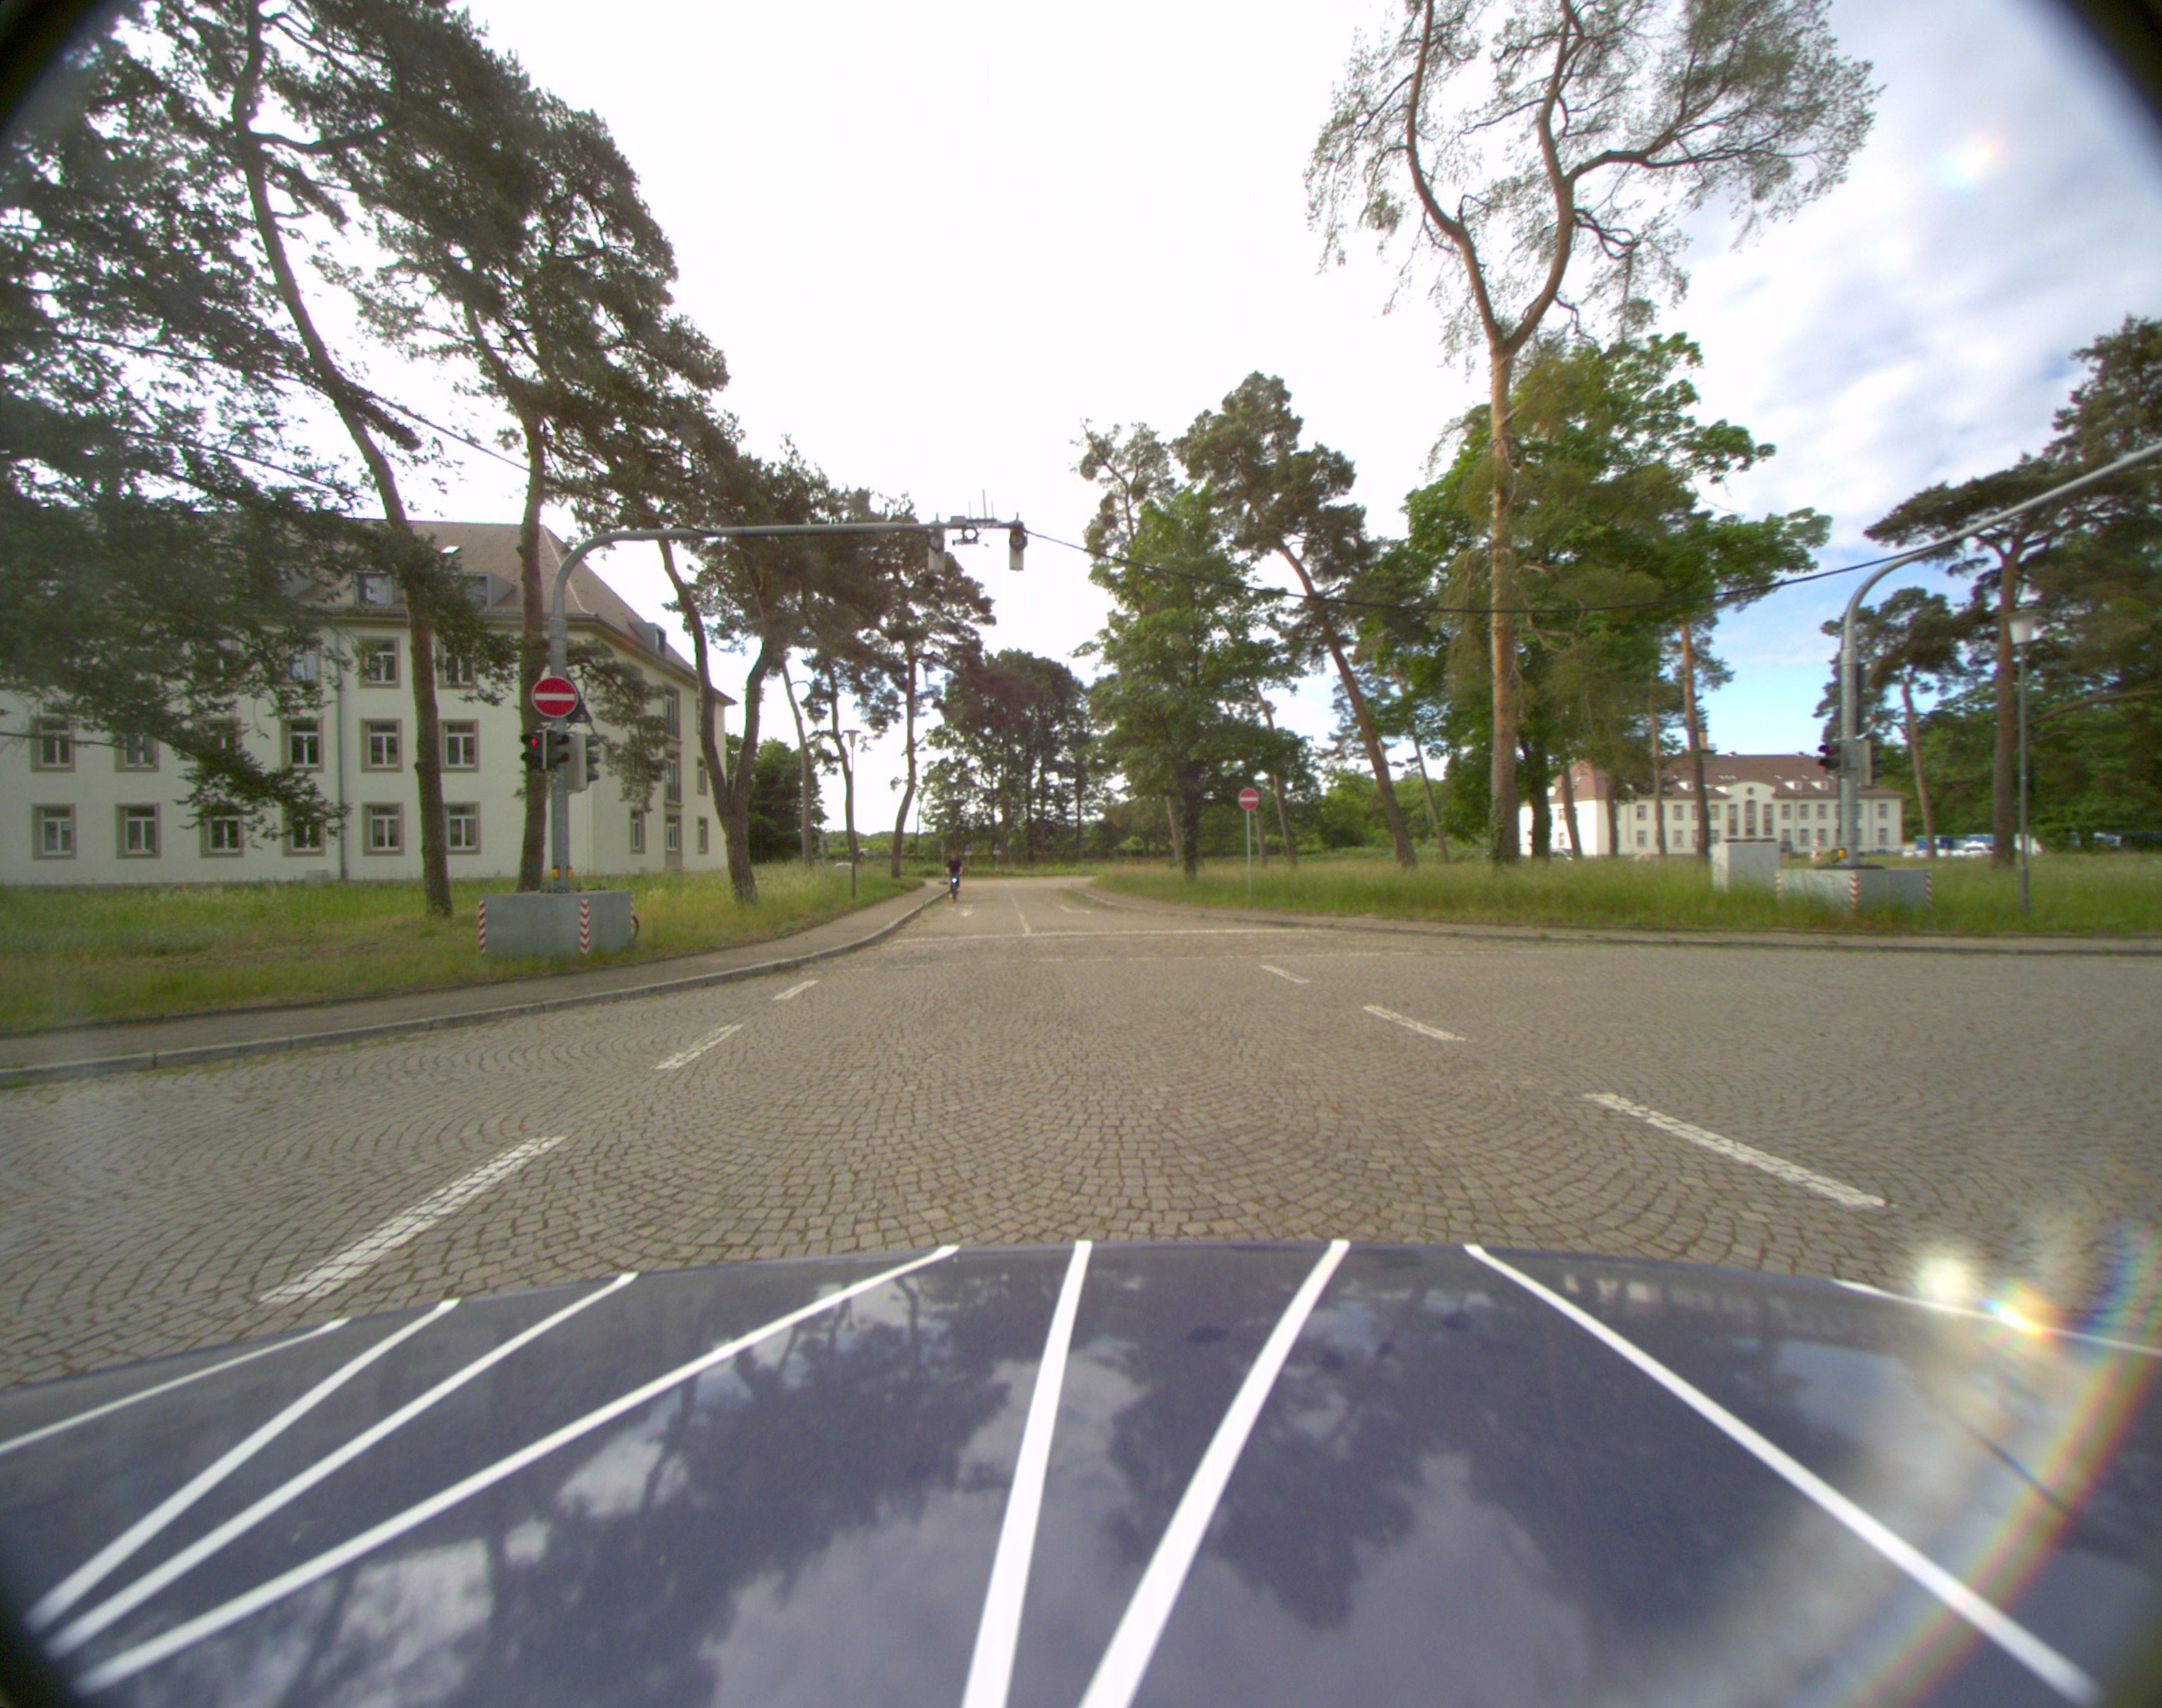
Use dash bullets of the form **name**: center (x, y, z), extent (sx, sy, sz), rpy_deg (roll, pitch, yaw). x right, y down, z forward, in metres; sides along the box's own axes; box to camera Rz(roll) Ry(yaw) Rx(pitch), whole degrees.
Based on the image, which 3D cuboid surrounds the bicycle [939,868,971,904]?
- **bicycle**: center (-4.748, 1.188, 28.776), extent (0.964, 1.268, 2.163), rpy_deg (-1, 0, -4)

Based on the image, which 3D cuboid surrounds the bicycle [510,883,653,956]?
- **bicycle**: center (-8.093, 1.048, 12.372), extent (1.838, 1.079, 0.572), rpy_deg (-1, 2, -8)

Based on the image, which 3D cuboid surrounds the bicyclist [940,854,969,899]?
- **bicyclist**: center (-4.786, 0.834, 28.704), extent (0.964, 1.626, 0.917), rpy_deg (-1, 1, -4)
